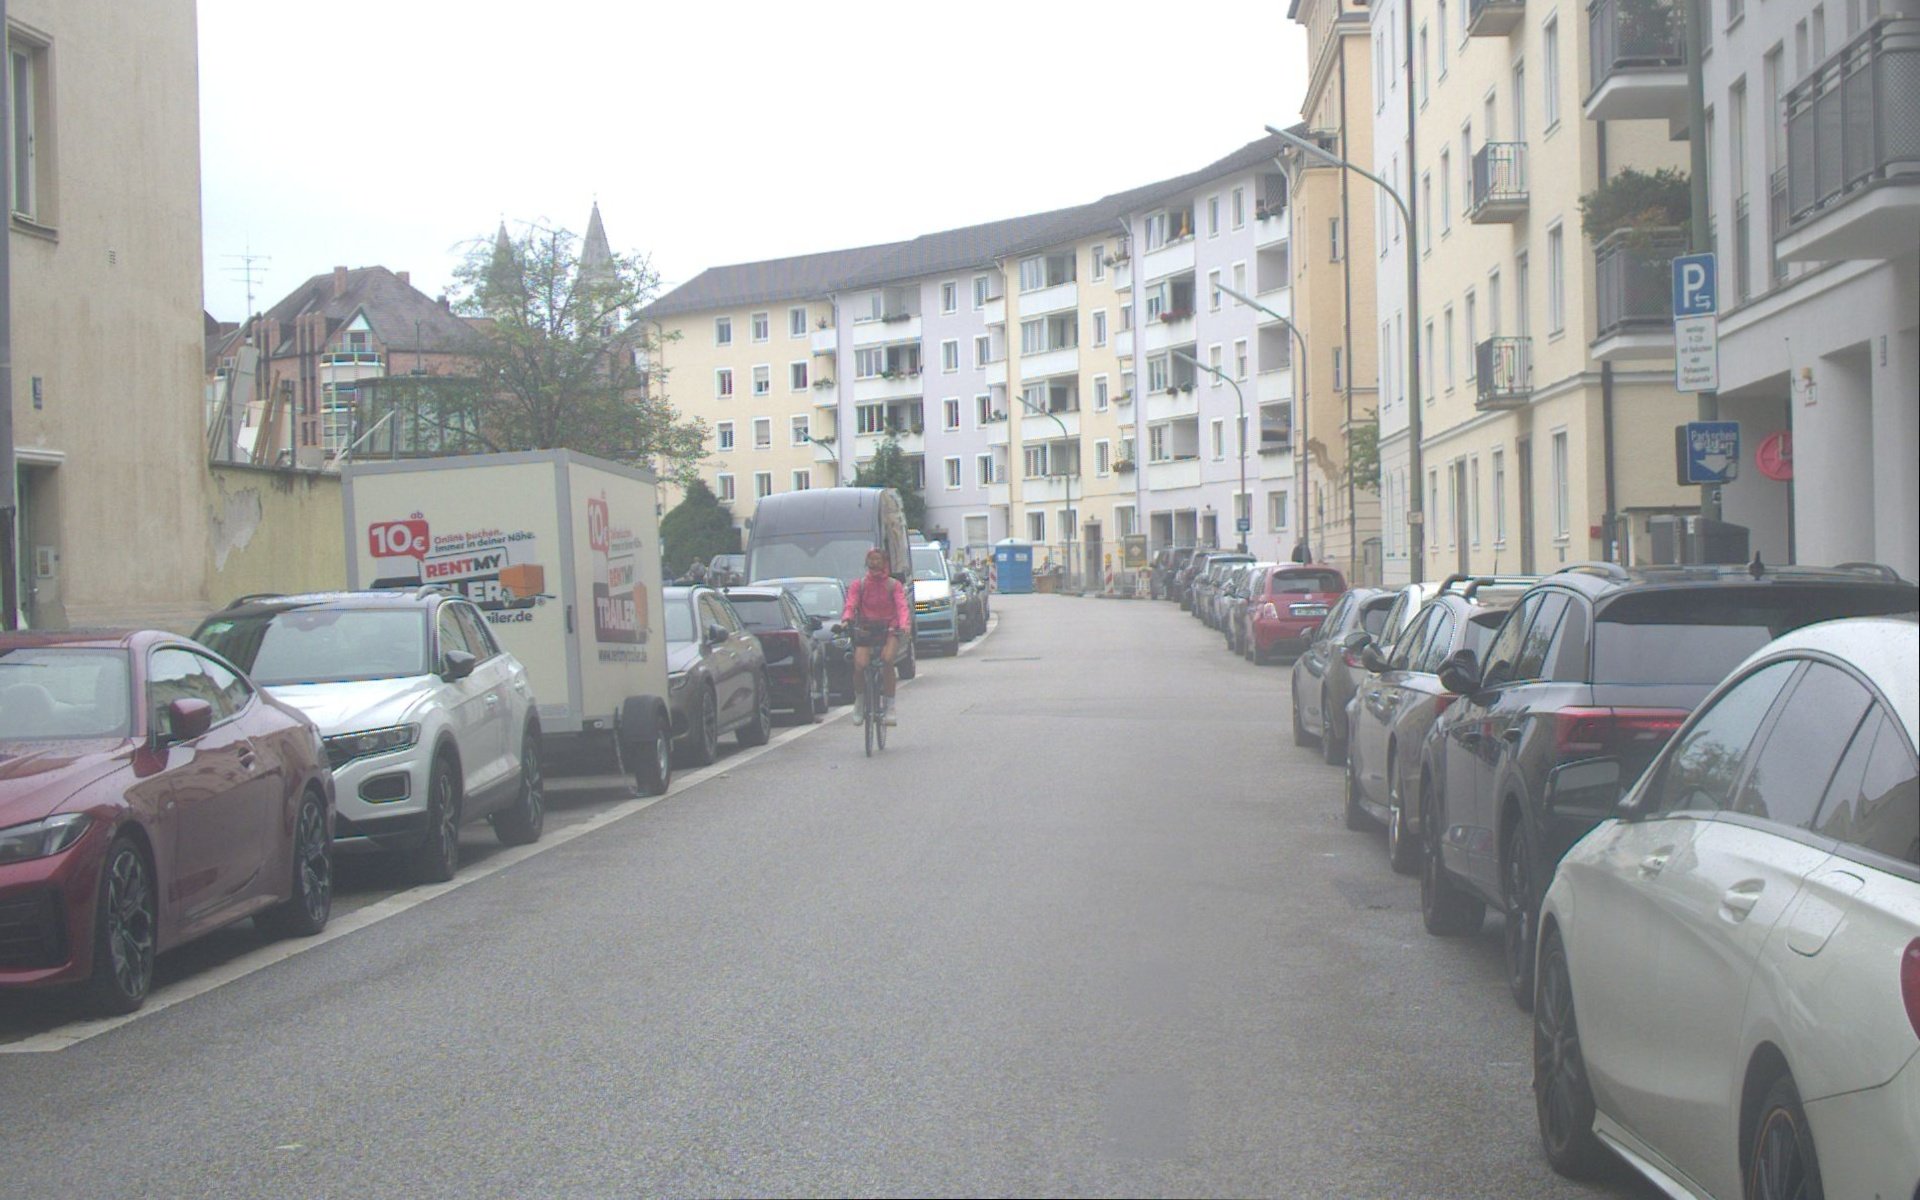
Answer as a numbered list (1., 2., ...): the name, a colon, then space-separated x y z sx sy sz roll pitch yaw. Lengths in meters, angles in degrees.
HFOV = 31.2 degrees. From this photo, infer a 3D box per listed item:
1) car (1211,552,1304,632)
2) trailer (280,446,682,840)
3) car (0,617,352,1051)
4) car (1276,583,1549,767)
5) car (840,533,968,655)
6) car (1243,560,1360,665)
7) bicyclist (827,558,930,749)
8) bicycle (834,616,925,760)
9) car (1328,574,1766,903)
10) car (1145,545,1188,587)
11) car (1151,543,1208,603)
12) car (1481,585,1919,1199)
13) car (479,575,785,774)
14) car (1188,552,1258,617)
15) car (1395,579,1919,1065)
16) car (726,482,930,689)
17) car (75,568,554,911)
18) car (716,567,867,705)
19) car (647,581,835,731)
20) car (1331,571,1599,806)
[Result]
1. car: 5.879 -0.177 68.243 1.599 1.486 3.799 -1 1 1
2. trailer: -3.265 0.244 24.312 1.709 2.453 4.386 -3 1 6
3. car: -3.820 0.829 13.615 1.861 1.408 4.333 -3 0 2
4. car: 3.683 0.575 28.620 1.763 1.403 4.078 -1 0 1
5. car: -0.927 -0.142 59.605 1.883 1.925 4.601 -3 1 2
6. car: 5.179 0.158 52.439 1.595 1.503 3.800 -1 1 3
7. bicyclist: -0.680 0.441 28.960 0.694 1.556 0.966 -2 1 6
8. bicycle: -0.669 0.721 29.001 0.504 1.124 1.773 -2 1 6
9. car: 3.080 0.653 18.926 1.734 1.525 4.621 1 1 2
10. car: 6.562 -1.096 109.527 1.272 1.294 2.797 -1 1 2
11. car: 6.225 -0.782 97.821 1.474 1.635 4.001 0 1 2
12. car: 2.130 0.724 6.807 1.658 1.435 4.206 1 1 2
13. car: -2.793 0.596 30.331 1.767 1.533 4.540 -3 0 6
14. car: 6.690 -0.408 87.694 1.590 1.577 4.299 0 1 2
15. car: 2.677 0.713 13.177 1.604 1.525 3.984 1 1 2
16. car: -1.722 -0.244 46.912 2.088 2.627 5.376 -1 1 5
17. car: -3.431 0.677 18.988 1.687 1.597 3.921 -3 1 2
18. car: -1.988 0.415 41.425 1.585 1.533 3.543 -2 0 0
19. car: -2.284 0.558 36.724 1.701 1.441 3.825 0 1 1
20. car: 3.519 0.566 24.433 1.519 1.525 3.526 1 1 3
